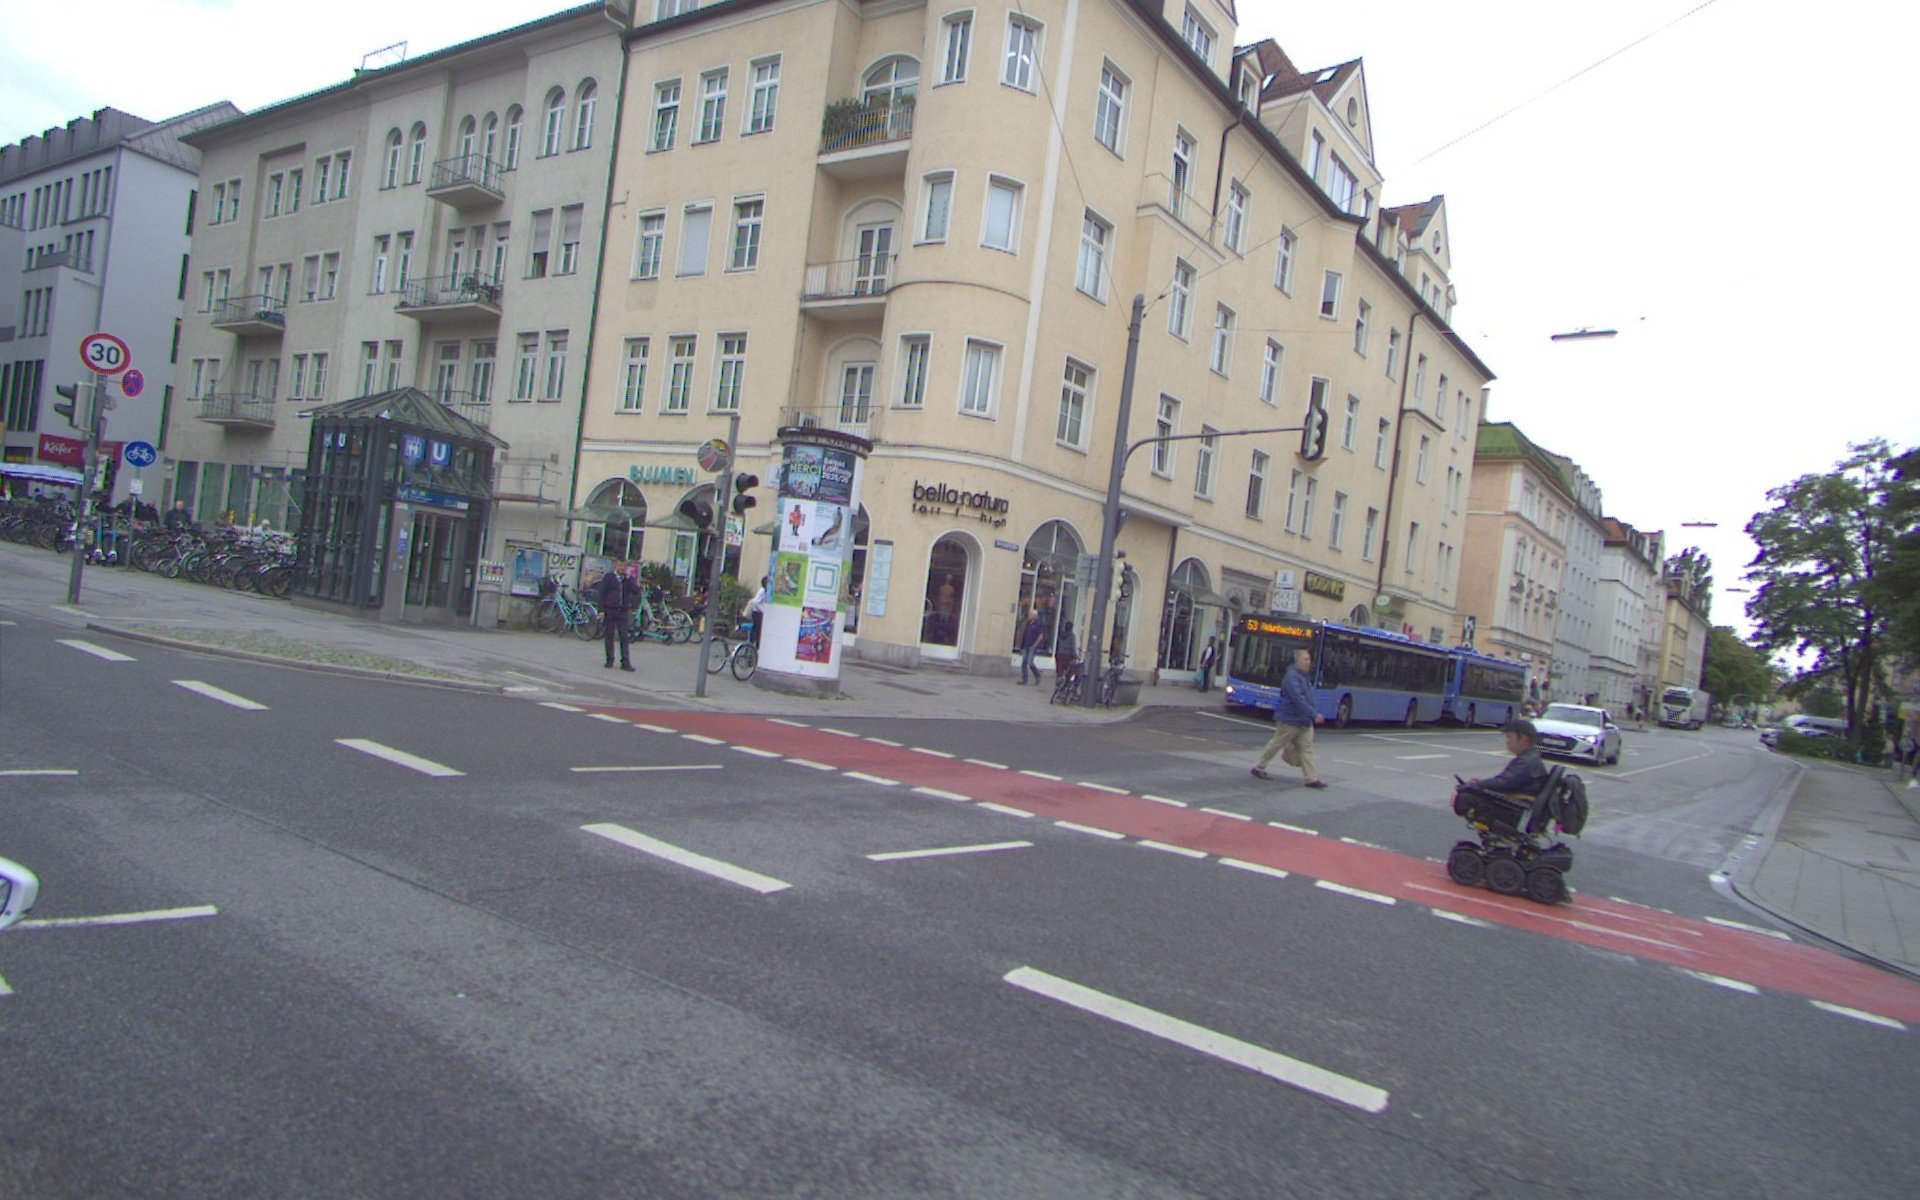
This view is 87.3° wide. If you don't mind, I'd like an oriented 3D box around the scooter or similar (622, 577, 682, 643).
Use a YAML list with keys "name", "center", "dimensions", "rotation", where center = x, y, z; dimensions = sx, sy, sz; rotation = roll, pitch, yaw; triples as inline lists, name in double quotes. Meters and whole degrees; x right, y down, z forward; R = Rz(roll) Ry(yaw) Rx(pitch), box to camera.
- name: "scooter or similar"
  center: [-6.403, 0.202, 20.896]
  dimensions: [1.133, 1.242, 0.288]
  rotation: [7, 1, 22]

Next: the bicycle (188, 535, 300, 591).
- name: "bicycle"
  center: [-15.379, -0.776, 21.657]
  dimensions: [0.500, 0.976, 1.841]
  rotation: [7, 0, 30]

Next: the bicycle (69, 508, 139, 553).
- name: "bicycle"
  center: [-24.550, -1.985, 28.861]
  dimensions: [0.362, 1.088, 1.430]
  rotation: [7, 0, 25]

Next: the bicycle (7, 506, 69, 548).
- name: "bicycle"
  center: [-25.271, -1.984, 27.589]
  dimensions: [0.363, 0.975, 1.133]
  rotation: [8, 0, 37]

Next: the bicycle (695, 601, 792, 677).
- name: "bicycle"
  center: [-3.679, 0.680, 17.232]
  dimensions: [0.516, 1.175, 1.569]
  rotation: [9, 2, 34]

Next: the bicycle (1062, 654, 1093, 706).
- name: "bicycle"
  center: [2.542, 1.704, 21.656]
  dimensions: [0.244, 1.046, 1.584]
  rotation: [7, 0, 17]

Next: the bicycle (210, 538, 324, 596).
- name: "bicycle"
  center: [-14.445, -0.665, 21.023]
  dimensions: [0.500, 0.976, 1.841]
  rotation: [7, 0, 30]

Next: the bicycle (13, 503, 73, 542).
- name: "bicycle"
  center: [-28.205, -2.375, 30.957]
  dimensions: [0.363, 0.993, 1.246]
  rotation: [7, 0, 28]

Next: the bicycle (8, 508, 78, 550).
- name: "bicycle"
  center: [-24.712, -1.900, 27.132]
  dimensions: [0.363, 0.926, 1.294]
  rotation: [7, 0, 32]

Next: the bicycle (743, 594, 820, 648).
- name: "bicycle"
  center: [-4.442, 0.509, 25.052]
  dimensions: [1.833, 1.103, 0.495]
  rotation: [7, 0, 26]

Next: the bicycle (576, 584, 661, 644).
- name: "bicycle"
  center: [-6.950, 0.275, 20.435]
  dimensions: [1.835, 0.987, 0.495]
  rotation: [7, 0, 32]

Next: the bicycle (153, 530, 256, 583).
- name: "bicycle"
  center: [-16.968, -0.960, 22.630]
  dimensions: [0.445, 0.976, 1.757]
  rotation: [7, 0, 30]

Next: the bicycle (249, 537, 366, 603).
- name: "bicycle"
  center: [-13.031, -0.574, 20.150]
  dimensions: [0.500, 1.107, 1.841]
  rotation: [7, 0, 30]

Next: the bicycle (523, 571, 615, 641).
- name: "bicycle"
  center: [-7.562, 0.116, 19.432]
  dimensions: [1.835, 1.121, 0.567]
  rotation: [7, 0, 32]

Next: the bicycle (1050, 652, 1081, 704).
- name: "bicycle"
  center: [2.289, 1.668, 21.716]
  dimensions: [0.244, 1.046, 1.584]
  rotation: [7, 0, 17]

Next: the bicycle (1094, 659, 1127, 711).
- name: "bicycle"
  center: [3.247, 1.812, 21.691]
  dimensions: [0.350, 1.046, 1.584]
  rotation: [7, 0, 17]

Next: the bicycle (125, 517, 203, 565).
- name: "bicycle"
  center: [-21.820, -1.598, 27.602]
  dimensions: [0.444, 1.088, 1.551]
  rotation: [7, 0, 33]

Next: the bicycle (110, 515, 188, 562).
- name: "bicycle"
  center: [-22.410, -1.678, 27.815]
  dimensions: [0.443, 1.088, 1.553]
  rotation: [7, 0, 27]

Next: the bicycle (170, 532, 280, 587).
- name: "bicycle"
  center: [-16.079, -0.863, 22.060]
  dimensions: [0.500, 0.976, 1.841]
  rotation: [7, 0, 30]

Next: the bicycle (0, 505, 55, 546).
- name: "bicycle"
  center: [-26.191, -2.076, 28.131]
  dimensions: [0.363, 0.975, 1.181]
  rotation: [7, 0, 35]

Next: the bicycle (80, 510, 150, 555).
- name: "bicycle"
  center: [-24.018, -1.916, 28.619]
  dimensions: [0.362, 1.088, 1.430]
  rotation: [7, 0, 25]

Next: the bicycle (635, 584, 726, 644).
- name: "bicycle"
  center: [-6.159, 0.314, 22.142]
  dimensions: [1.831, 1.072, 0.496]
  rotation: [7, 0, 16]

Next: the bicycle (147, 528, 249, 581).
- name: "bicycle"
  center: [-17.347, -1.018, 22.955]
  dimensions: [0.445, 0.976, 1.757]
  rotation: [7, 0, 30]

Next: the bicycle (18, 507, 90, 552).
- name: "bicycle"
  center: [-24.140, -1.867, 26.831]
  dimensions: [0.363, 1.012, 1.316]
  rotation: [7, 0, 32]

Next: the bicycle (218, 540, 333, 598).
- name: "bicycle"
  center: [-14.037, -0.620, 20.690]
  dimensions: [0.500, 0.976, 1.841]
  rotation: [7, 0, 30]

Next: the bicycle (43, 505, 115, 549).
- name: "bicycle"
  center: [-26.053, -2.159, 29.780]
  dimensions: [0.362, 1.088, 1.504]
  rotation: [7, 0, 25]

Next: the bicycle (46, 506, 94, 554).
- name: "bicycle"
  center: [-22.901, -1.795, 25.912]
  dimensions: [0.365, 1.155, 1.712]
  rotation: [7, 0, -26]

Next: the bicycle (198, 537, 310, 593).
- name: "bicycle"
  center: [-14.951, -0.726, 21.358]
  dimensions: [0.500, 0.976, 1.841]
  rotation: [7, 0, 30]

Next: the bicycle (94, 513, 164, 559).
- name: "bicycle"
  center: [-23.335, -1.795, 28.266]
  dimensions: [0.362, 1.088, 1.430]
  rotation: [7, 0, 25]

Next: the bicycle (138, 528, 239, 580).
- name: "bicycle"
  center: [-17.875, -1.051, 23.340]
  dimensions: [0.445, 0.976, 1.757]
  rotation: [7, 0, 30]

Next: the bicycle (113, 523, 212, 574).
- name: "bicycle"
  center: [-18.940, -1.204, 23.940]
  dimensions: [0.363, 0.976, 1.756]
  rotation: [7, 0, 32]

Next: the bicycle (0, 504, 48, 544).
- name: "bicycle"
  center: [-26.643, -2.150, 28.408]
  dimensions: [0.363, 0.975, 1.183]
  rotation: [7, 0, 30]

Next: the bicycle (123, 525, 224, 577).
- name: "bicycle"
  center: [-18.385, -1.133, 23.550]
  dimensions: [0.445, 0.976, 1.756]
  rotation: [7, 0, 32]

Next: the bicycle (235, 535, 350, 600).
- name: "bicycle"
  center: [-13.513, -0.634, 20.424]
  dimensions: [0.500, 1.107, 1.841]
  rotation: [7, 0, 30]

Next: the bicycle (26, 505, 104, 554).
- name: "bicycle"
  center: [-23.673, -1.851, 26.640]
  dimensions: [0.363, 1.090, 1.419]
  rotation: [7, 0, 32]

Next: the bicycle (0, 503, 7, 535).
- name: "bicycle"
  center: [-29.779, -2.539, 30.449]
  dimensions: [0.364, 0.975, 1.259]
  rotation: [8, 0, 41]

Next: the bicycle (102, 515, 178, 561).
- name: "bicycle"
  center: [-22.860, -1.711, 28.076]
  dimensions: [0.362, 1.088, 1.554]
  rotation: [7, 0, 25]

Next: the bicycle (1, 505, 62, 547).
- name: "bicycle"
  center: [-25.645, -2.030, 27.802]
  dimensions: [0.363, 0.975, 1.133]
  rotation: [8, 0, 37]

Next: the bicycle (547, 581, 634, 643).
- name: "bicycle"
  center: [-7.297, 0.228, 19.852]
  dimensions: [1.835, 0.987, 0.495]
  rotation: [7, 0, 32]

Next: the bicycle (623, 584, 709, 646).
- name: "bicycle"
  center: [-6.291, 0.315, 21.501]
  dimensions: [1.833, 1.072, 0.495]
  rotation: [7, 0, 27]
